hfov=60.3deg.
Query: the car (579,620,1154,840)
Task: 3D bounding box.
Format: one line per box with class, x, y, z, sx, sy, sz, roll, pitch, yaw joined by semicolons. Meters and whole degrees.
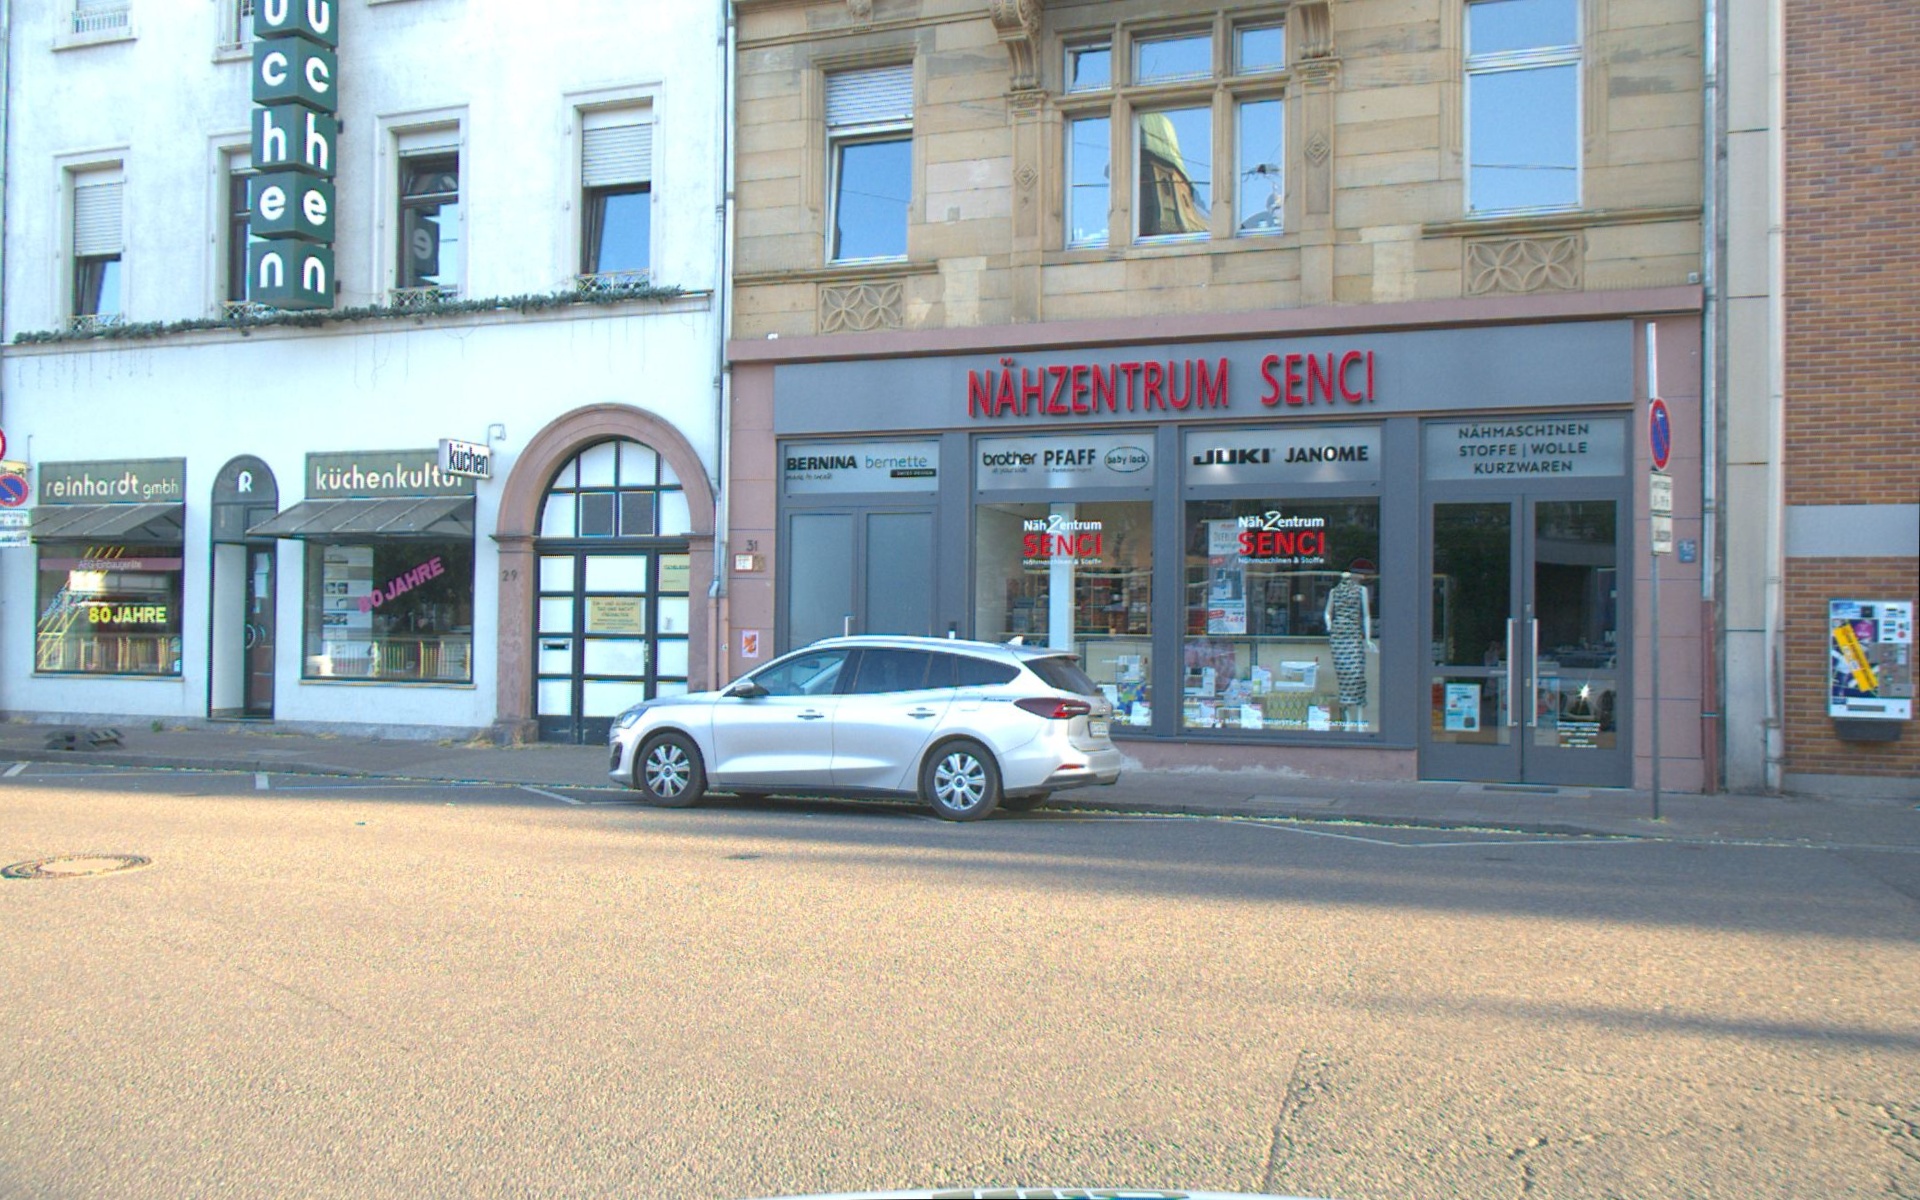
car;-0.785;1.037;14.489;4.570;1.562;2.000;2;-1;20
